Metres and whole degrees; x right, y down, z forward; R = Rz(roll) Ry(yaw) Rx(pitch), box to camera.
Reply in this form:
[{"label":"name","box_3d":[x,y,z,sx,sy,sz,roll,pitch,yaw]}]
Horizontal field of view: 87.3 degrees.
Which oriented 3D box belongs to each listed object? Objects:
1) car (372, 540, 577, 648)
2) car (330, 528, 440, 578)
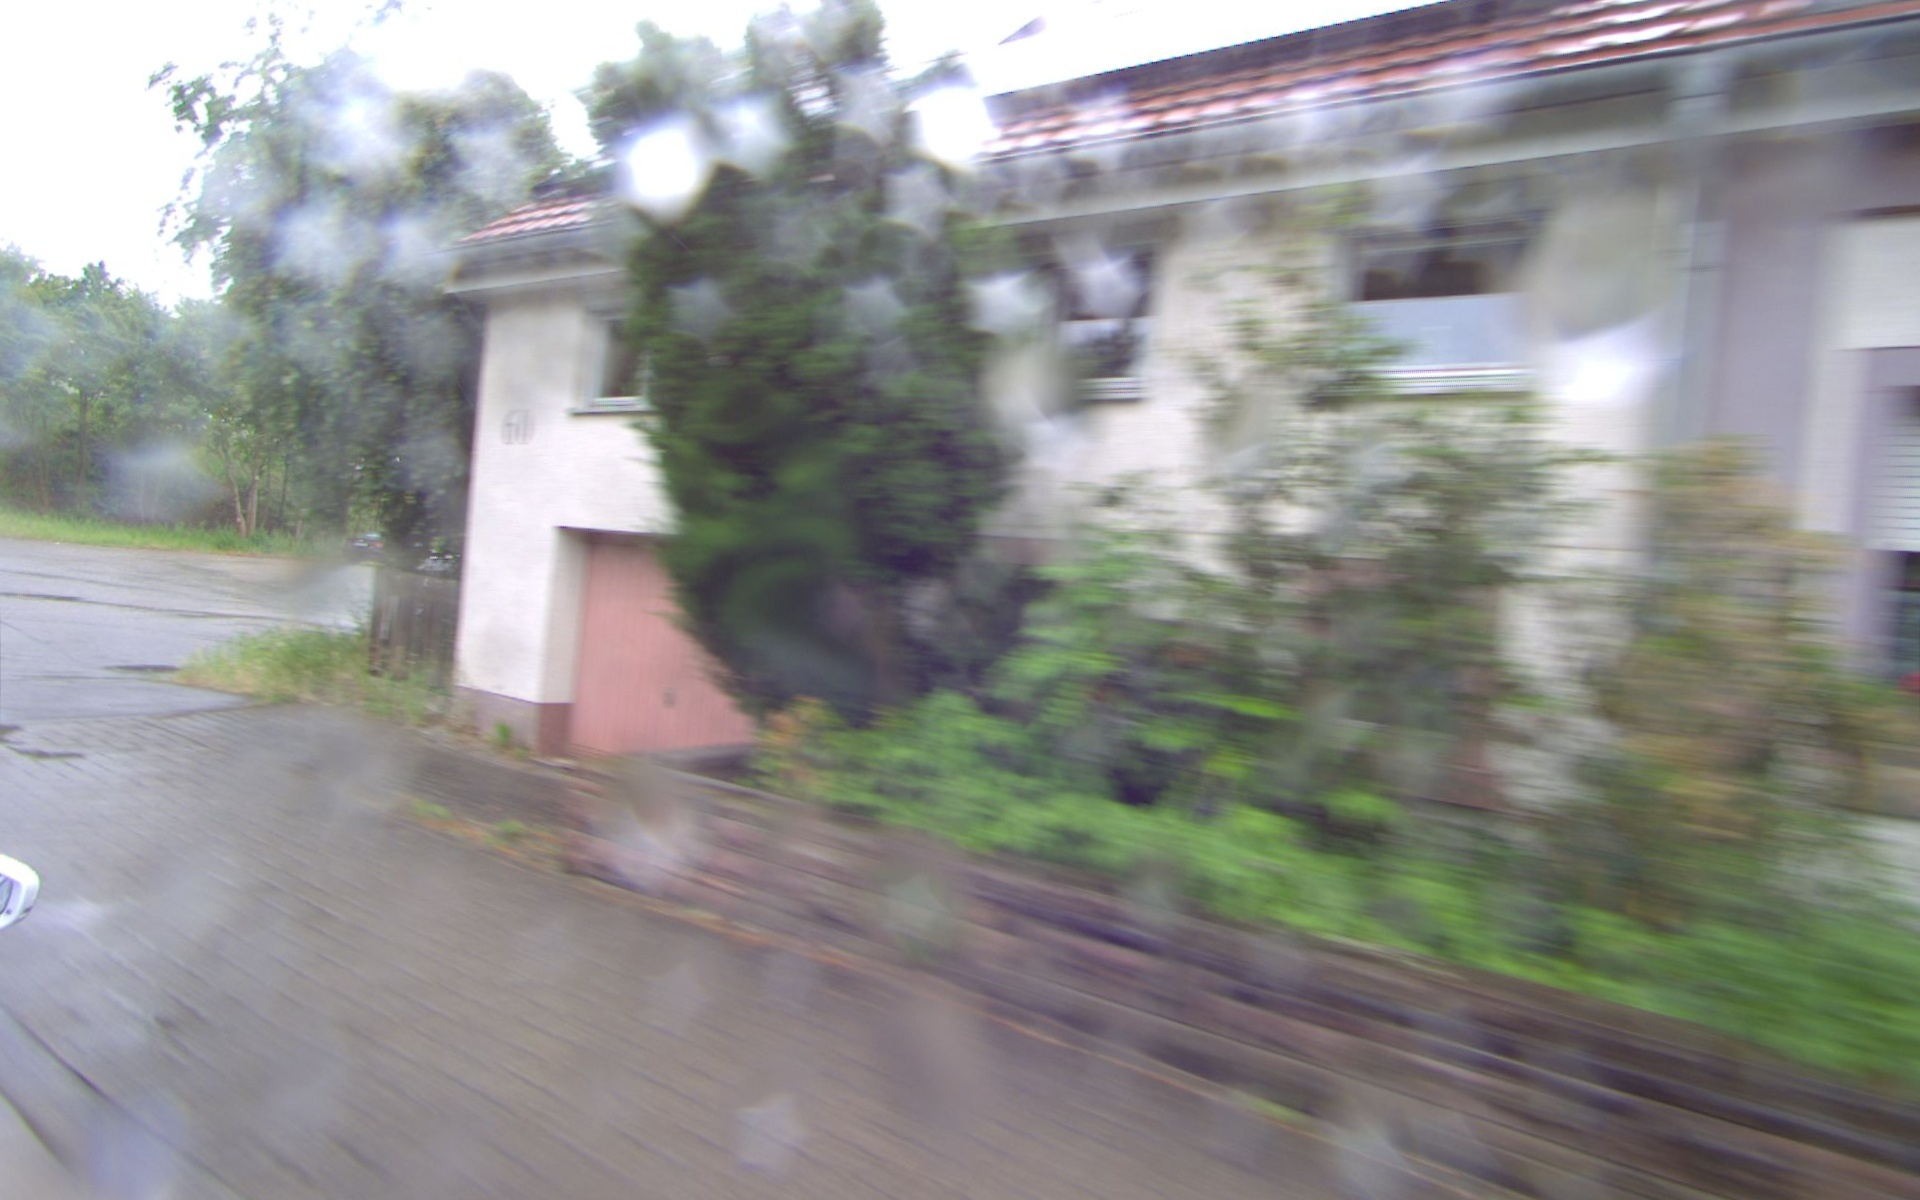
[{"label":"car","box_3d":[-8.617,-0.022,18.267,1.687,1.549,3.859,7,-2,0]},{"label":"car","box_3d":[-22.453,-1.793,39.482,1.870,1.374,4.113,7,-2,-1]}]
